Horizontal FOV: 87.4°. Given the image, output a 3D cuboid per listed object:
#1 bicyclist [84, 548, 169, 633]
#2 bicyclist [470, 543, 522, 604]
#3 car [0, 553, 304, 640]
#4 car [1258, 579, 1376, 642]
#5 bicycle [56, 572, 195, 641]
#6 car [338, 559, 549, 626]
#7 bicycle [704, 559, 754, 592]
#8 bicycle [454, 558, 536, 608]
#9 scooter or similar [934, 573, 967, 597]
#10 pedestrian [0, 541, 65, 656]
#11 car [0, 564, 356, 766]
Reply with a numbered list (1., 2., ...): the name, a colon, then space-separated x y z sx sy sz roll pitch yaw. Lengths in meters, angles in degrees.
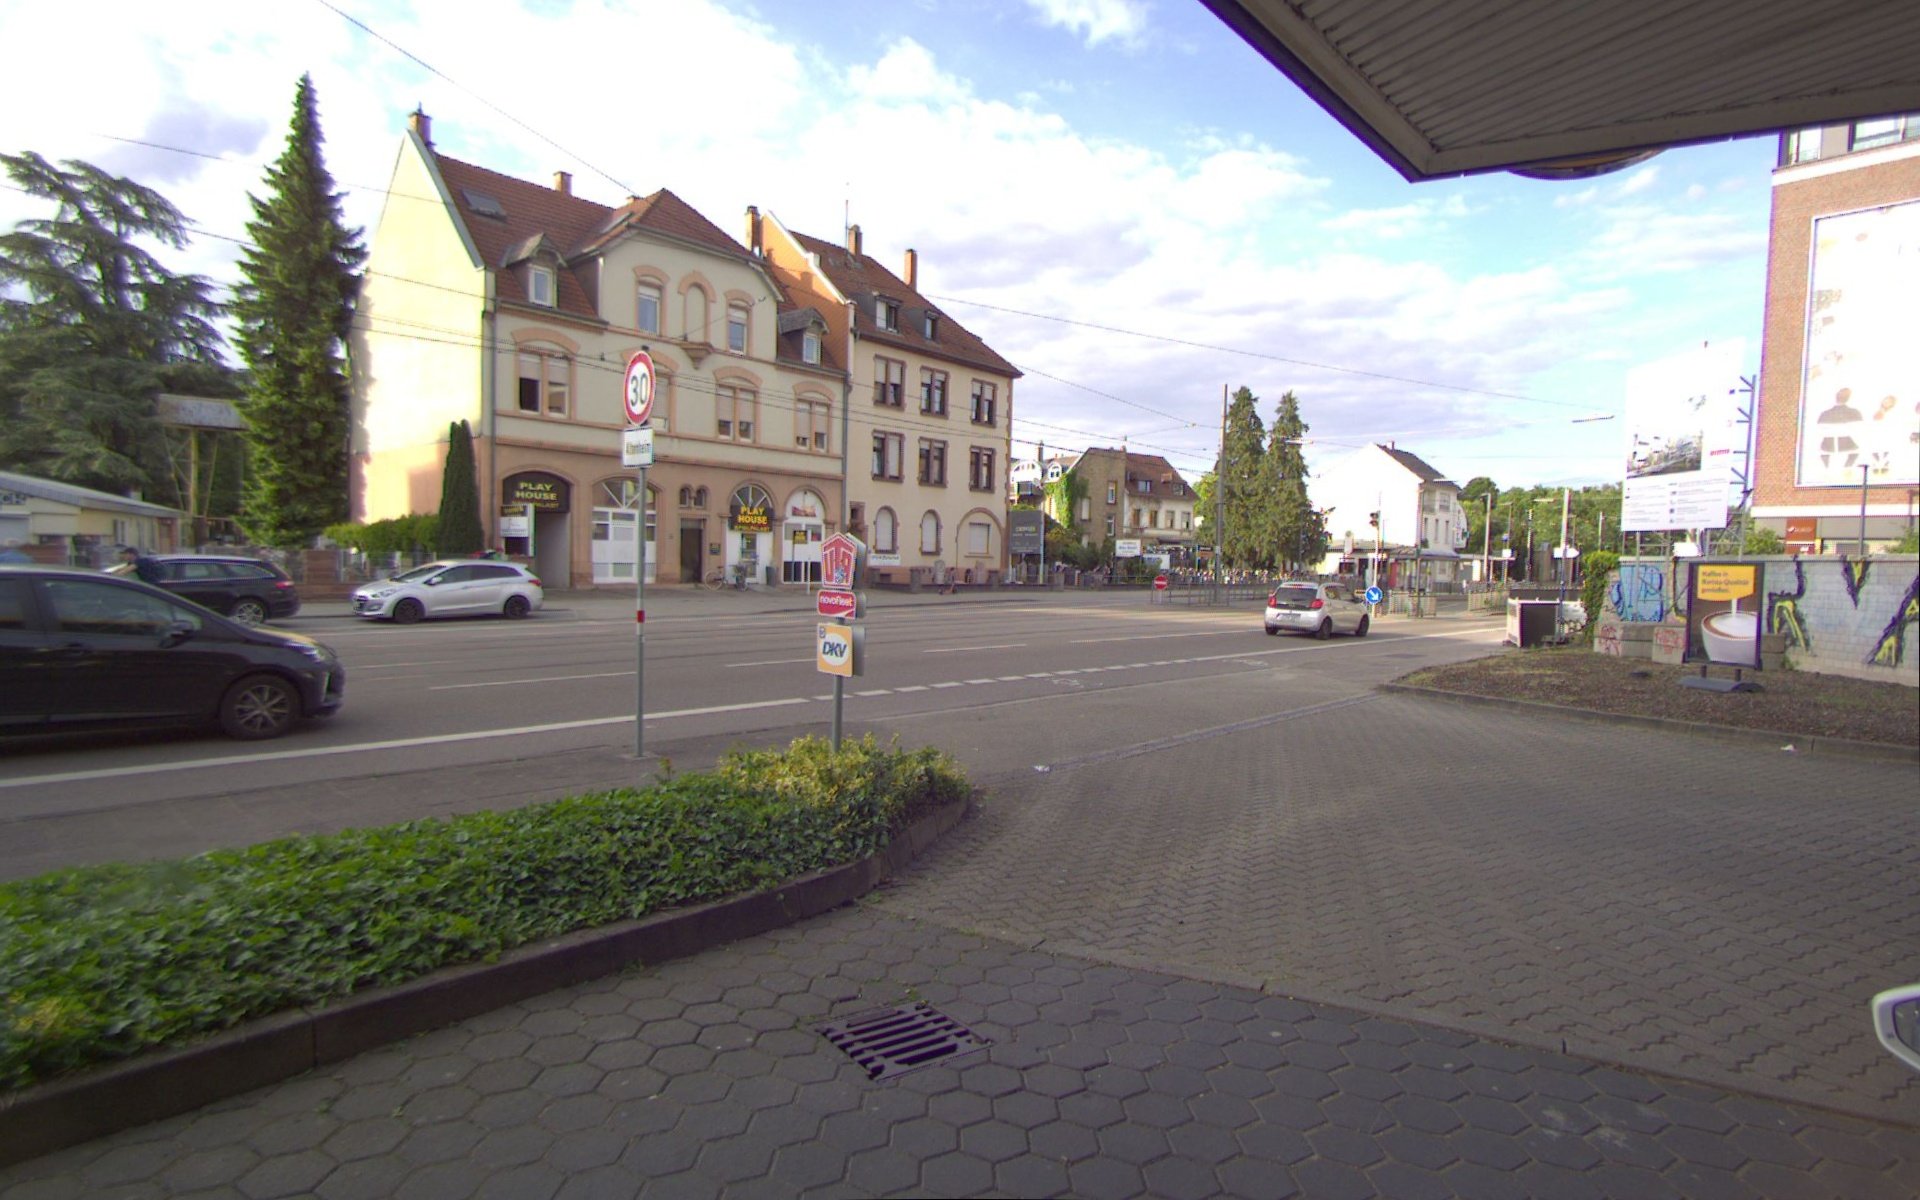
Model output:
1. bicyclist: -15.710 -0.190 18.953 0.669 1.555 1.082 1 2 34
2. bicyclist: -13.075 -0.746 28.321 0.852 1.627 1.025 6 4 36
3. car: -16.595 -0.140 20.733 1.983 1.520 4.755 4 4 39
4. car: 9.469 0.228 26.533 1.666 1.452 3.407 5 4 43
5. bicycle: -15.712 0.099 18.964 0.669 1.239 1.913 1 2 34
6. car: -12.915 -0.235 25.355 1.699 1.503 4.434 4 4 40
7. bicycle: -9.101 -0.953 39.609 0.665 1.229 1.862 4 2 41
8. bicycle: -13.090 -0.476 28.338 0.852 1.329 1.912 6 4 36
9. scooter or similar: -0.431 -0.663 45.111 0.461 1.041 1.655 4 3 40
10. pedestrian: -14.219 -0.039 15.139 0.995 1.690 0.960 0 2 -38
11. car: -7.617 0.477 8.702 1.665 1.492 3.791 5 4 42
